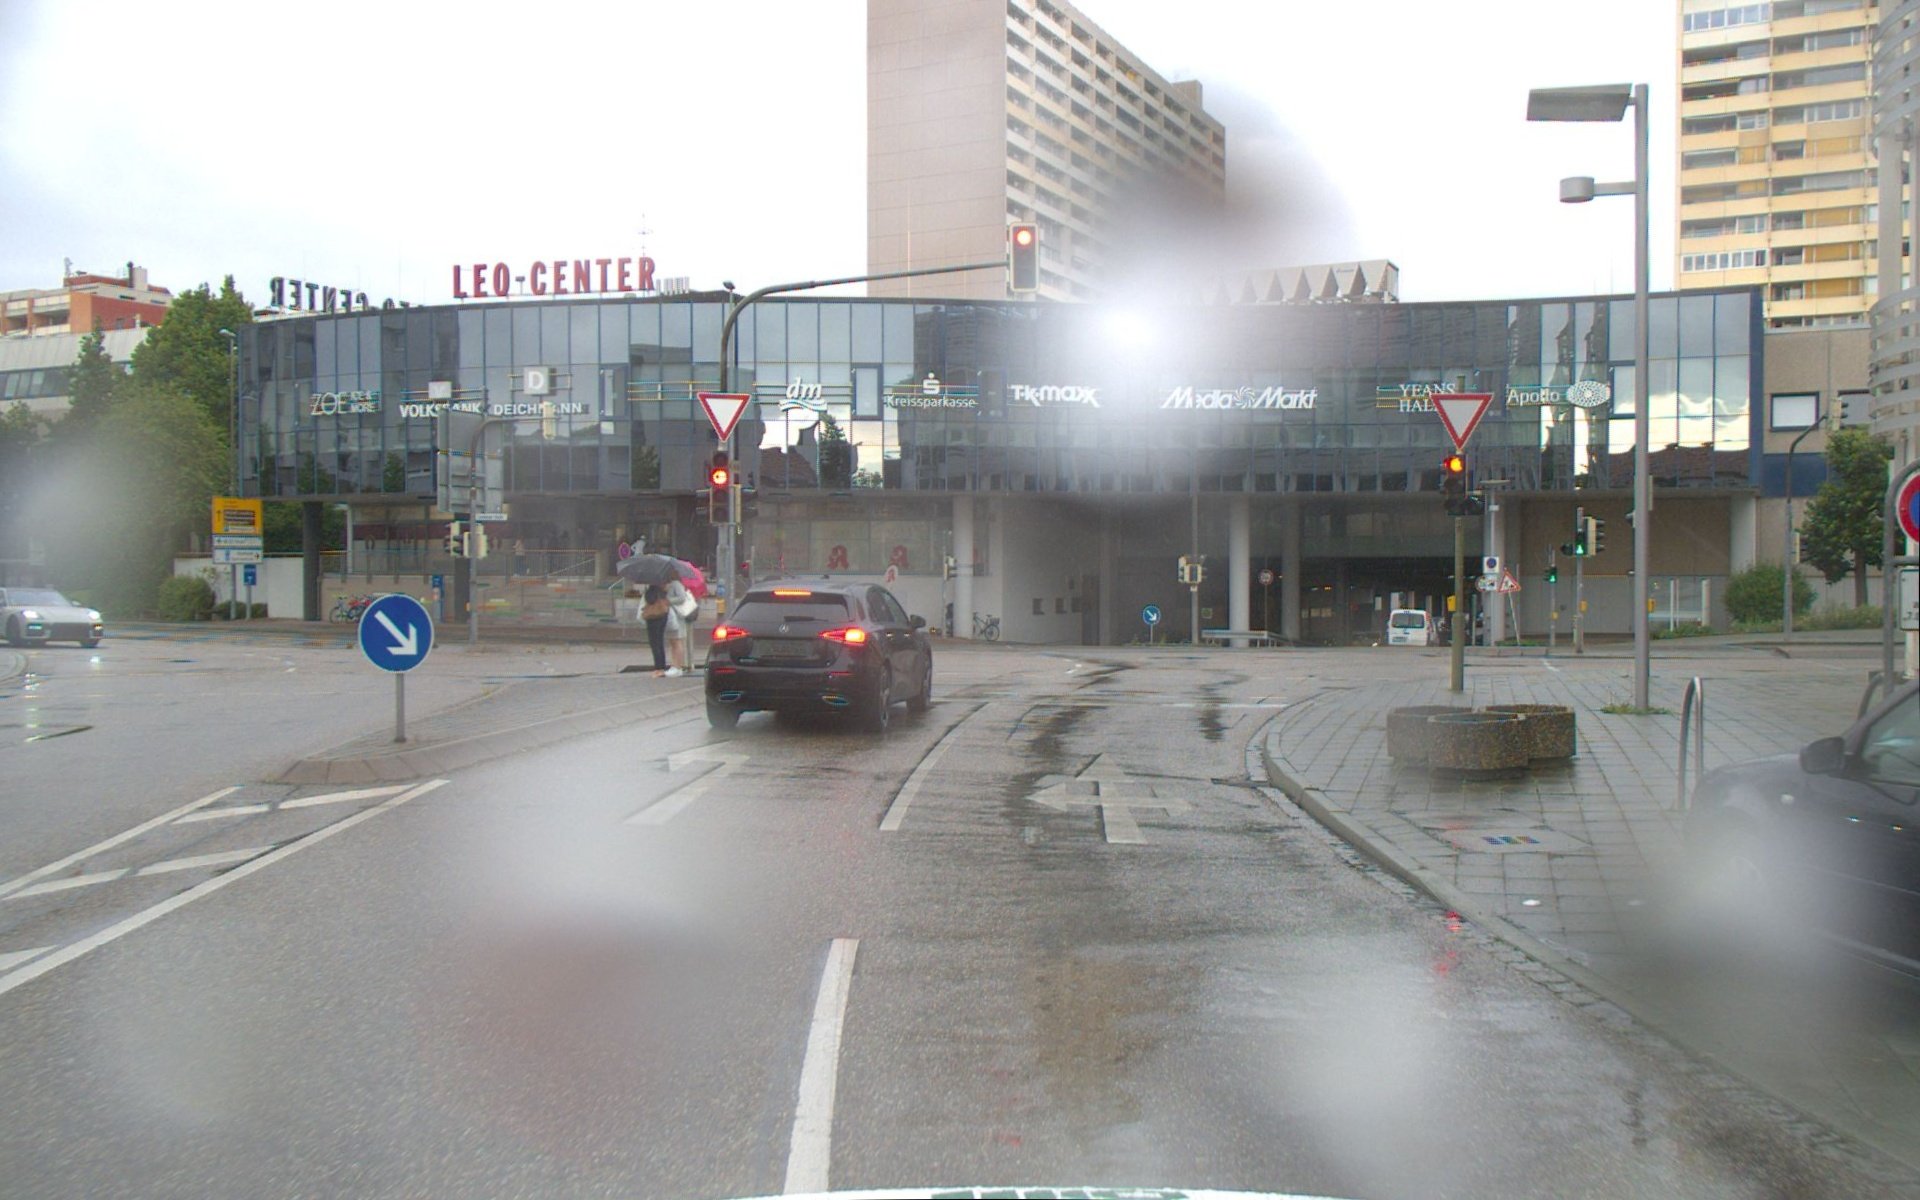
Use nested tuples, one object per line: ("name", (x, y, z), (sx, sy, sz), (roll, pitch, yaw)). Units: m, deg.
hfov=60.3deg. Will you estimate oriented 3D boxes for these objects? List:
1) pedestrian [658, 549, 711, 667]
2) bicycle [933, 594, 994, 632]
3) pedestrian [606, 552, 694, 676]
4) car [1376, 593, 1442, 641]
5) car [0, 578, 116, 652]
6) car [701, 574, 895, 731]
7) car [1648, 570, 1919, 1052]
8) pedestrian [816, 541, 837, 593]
("pedestrian", (-4.098, 0.106, 24.541), (0.600, 1.688, 0.669), (3, 1, -17))
("bicycle", (0.135, 0.513, 66.117), (2.383, 1.489, 0.653), (0, 2, -14))
("pedestrian", (-4.427, 0.199, 23.603), (0.903, 1.688, 0.745), (3, 1, -40))
("car", (17.210, 0.621, 63.330), (1.953, 1.747, 3.999), (0, 1, 22))
("car", (-22.931, 0.343, 41.074), (4.354, 1.538, 1.989), (5, 1, 41))
("car", (-1.576, 0.452, 17.301), (1.768, 1.444, 3.999), (0, 1, -2))
("car", (3.946, 0.681, 5.199), (1.664, 1.511, 3.998), (-3, 1, -3))
("pedestrian", (-5.318, -1.303, 65.771), (0.771, 2.049, 0.670), (-1, 0, -2))
